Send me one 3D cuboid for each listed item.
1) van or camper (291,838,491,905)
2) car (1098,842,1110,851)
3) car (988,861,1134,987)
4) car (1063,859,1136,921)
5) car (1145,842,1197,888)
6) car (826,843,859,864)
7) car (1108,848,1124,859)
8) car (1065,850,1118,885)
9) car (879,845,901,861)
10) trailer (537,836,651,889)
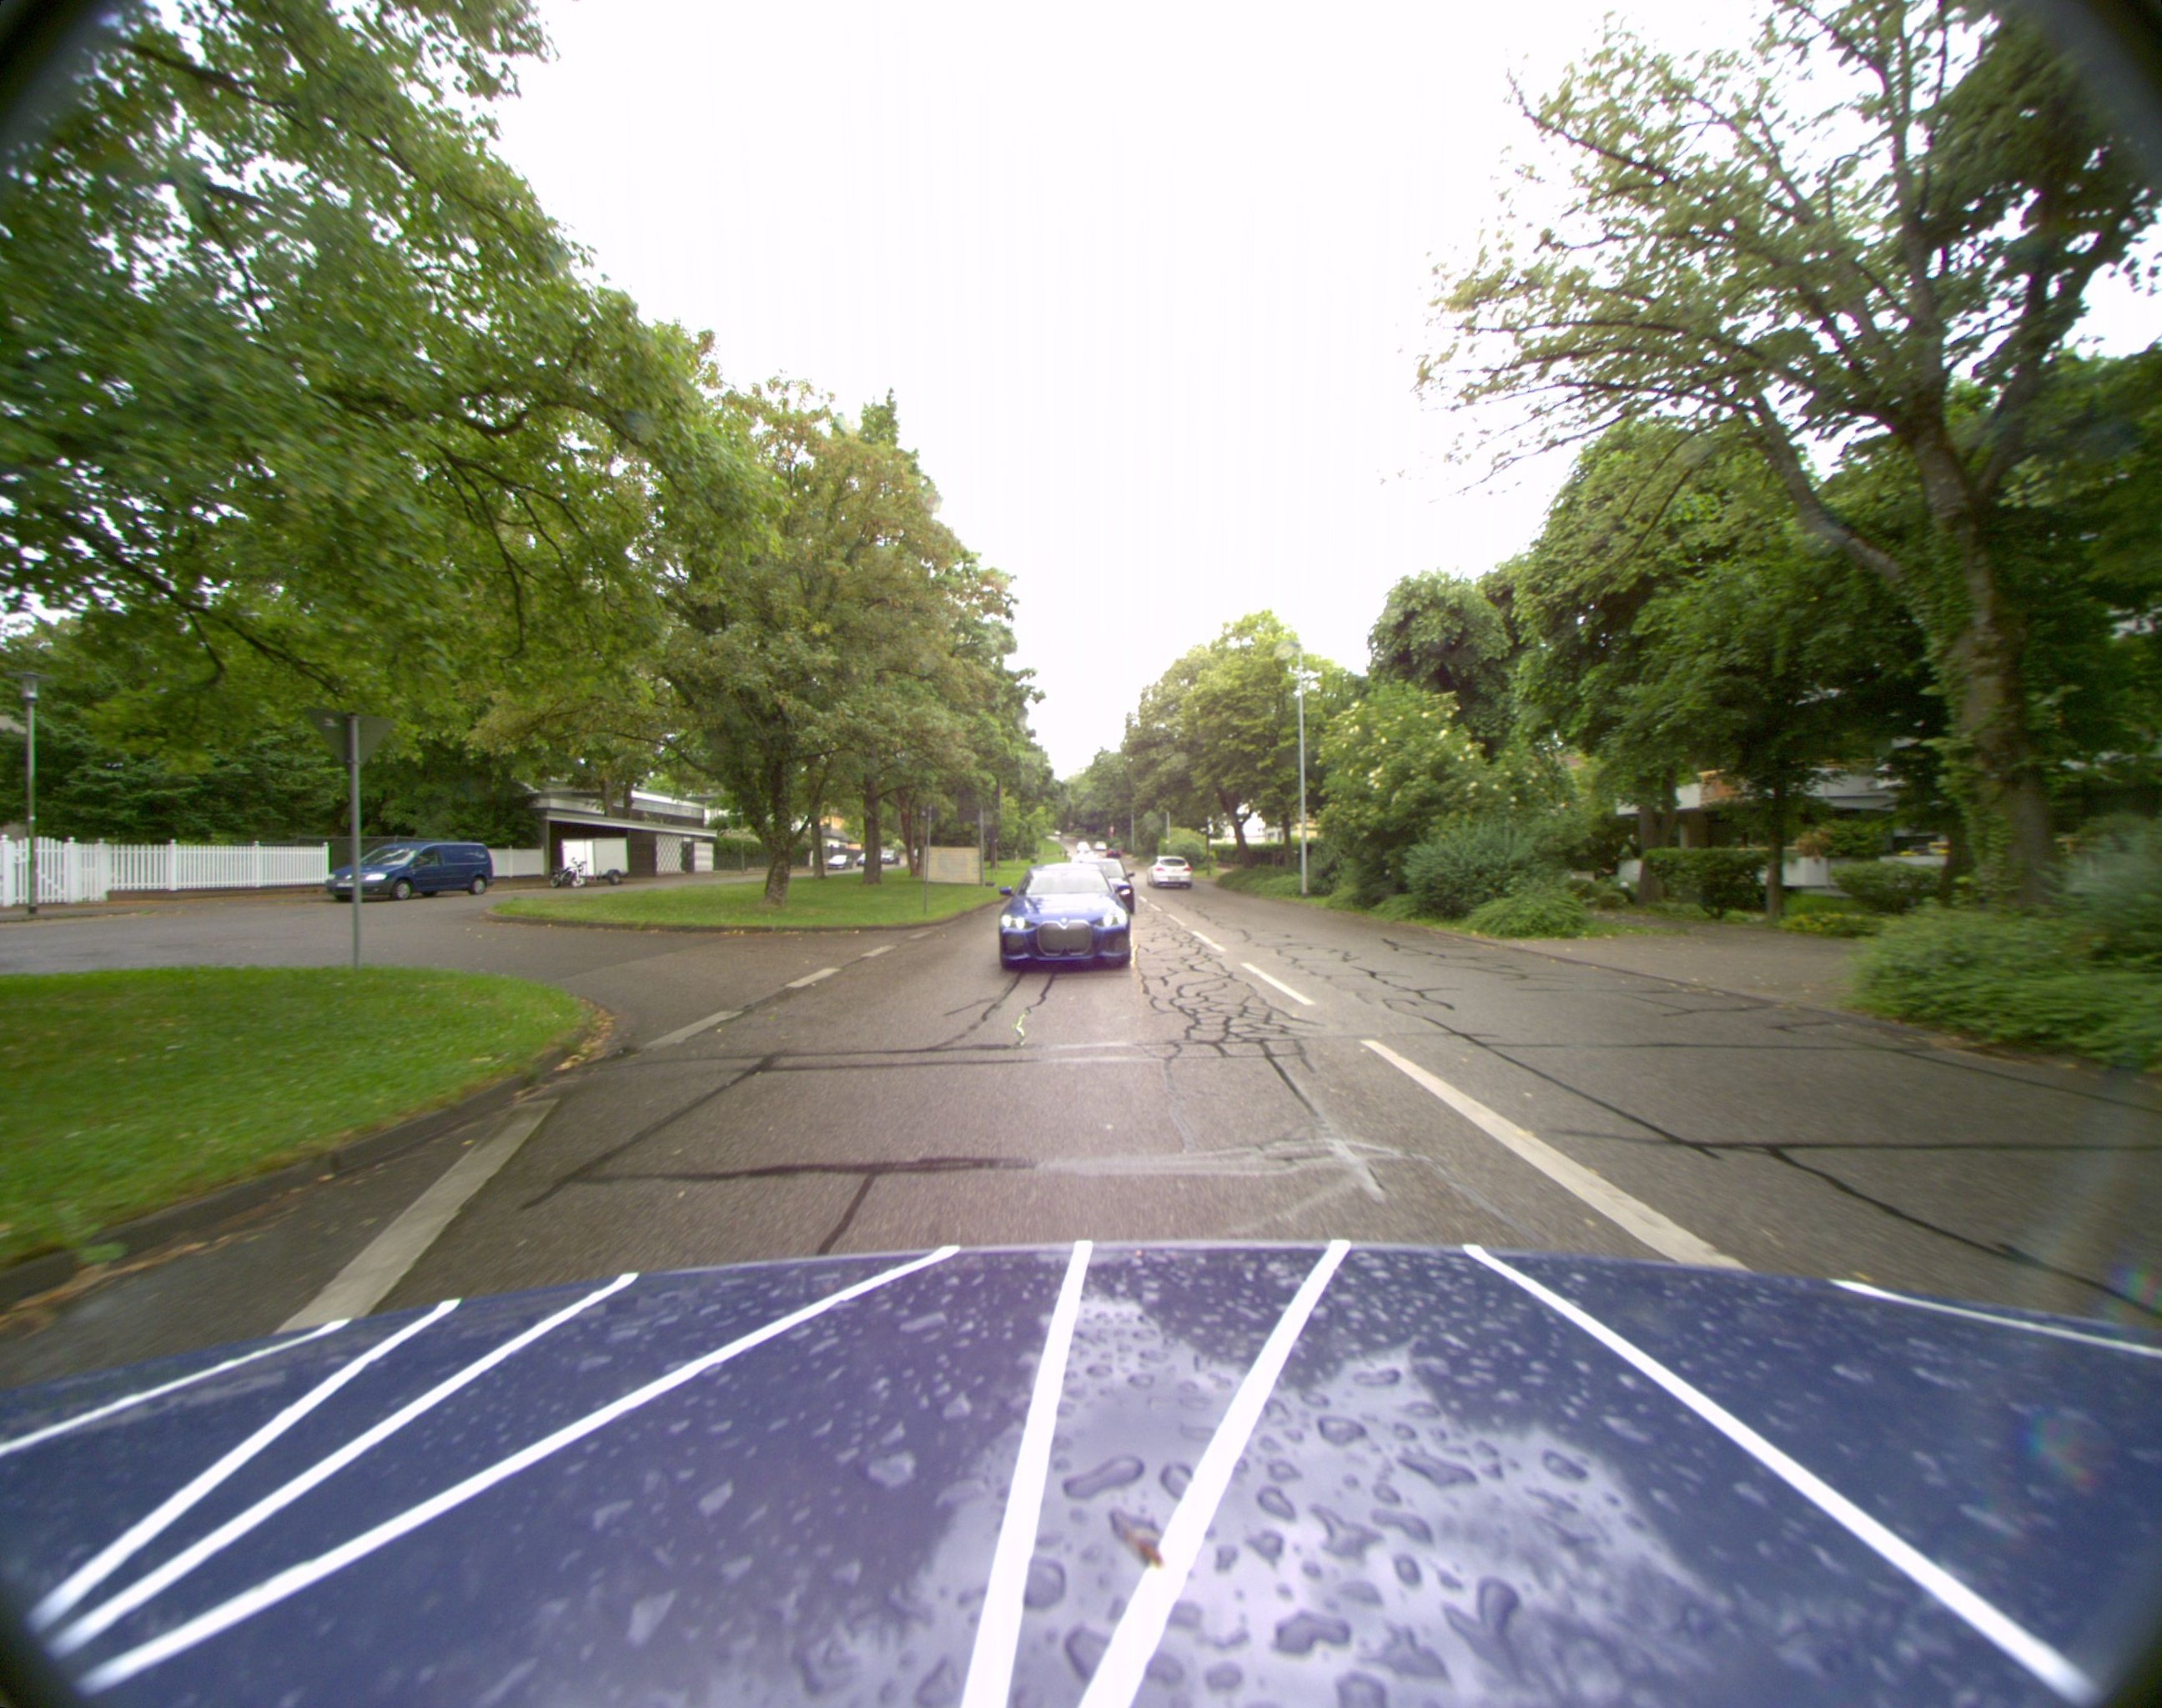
[{"bbox_3d":[-21.082,0.472,23.578,1.999,1.798,4.773,-3,1,-4],"label":"van or camper"},{"bbox_3d":[3.818,-1.229,123.939,1.825,1.471,4.067,0,1,3],"label":"car"},{"bbox_3d":[-0.256,0.928,11.890,1.826,1.471,4.067,-2,1,0],"label":"car"},{"bbox_3d":[0.483,0.938,21.640,1.826,1.471,4.067,-2,1,0],"label":"car"},{"bbox_3d":[4.144,0.495,35.766,1.998,2.002,4.574,0,0,1],"label":"car"},{"bbox_3d":[-23.678,-0.094,75.440,1.998,2.002,3.999,0,1,0],"label":"car"},{"bbox_3d":[4.466,-0.024,97.143,1.769,1.341,4.376,0,1,-1],"label":"car"},{"bbox_3d":[0.426,0.610,36.101,2.033,1.471,4.065,-2,1,-6],"label":"car"},{"bbox_3d":[-24.904,-0.118,99.292,1.999,2.001,4.000,0,-2,-2],"label":"car"},{"bbox_3d":[-21.302,0.320,33.542,1.771,2.104,5.191,-2,1,-2],"label":"trailer"}]
